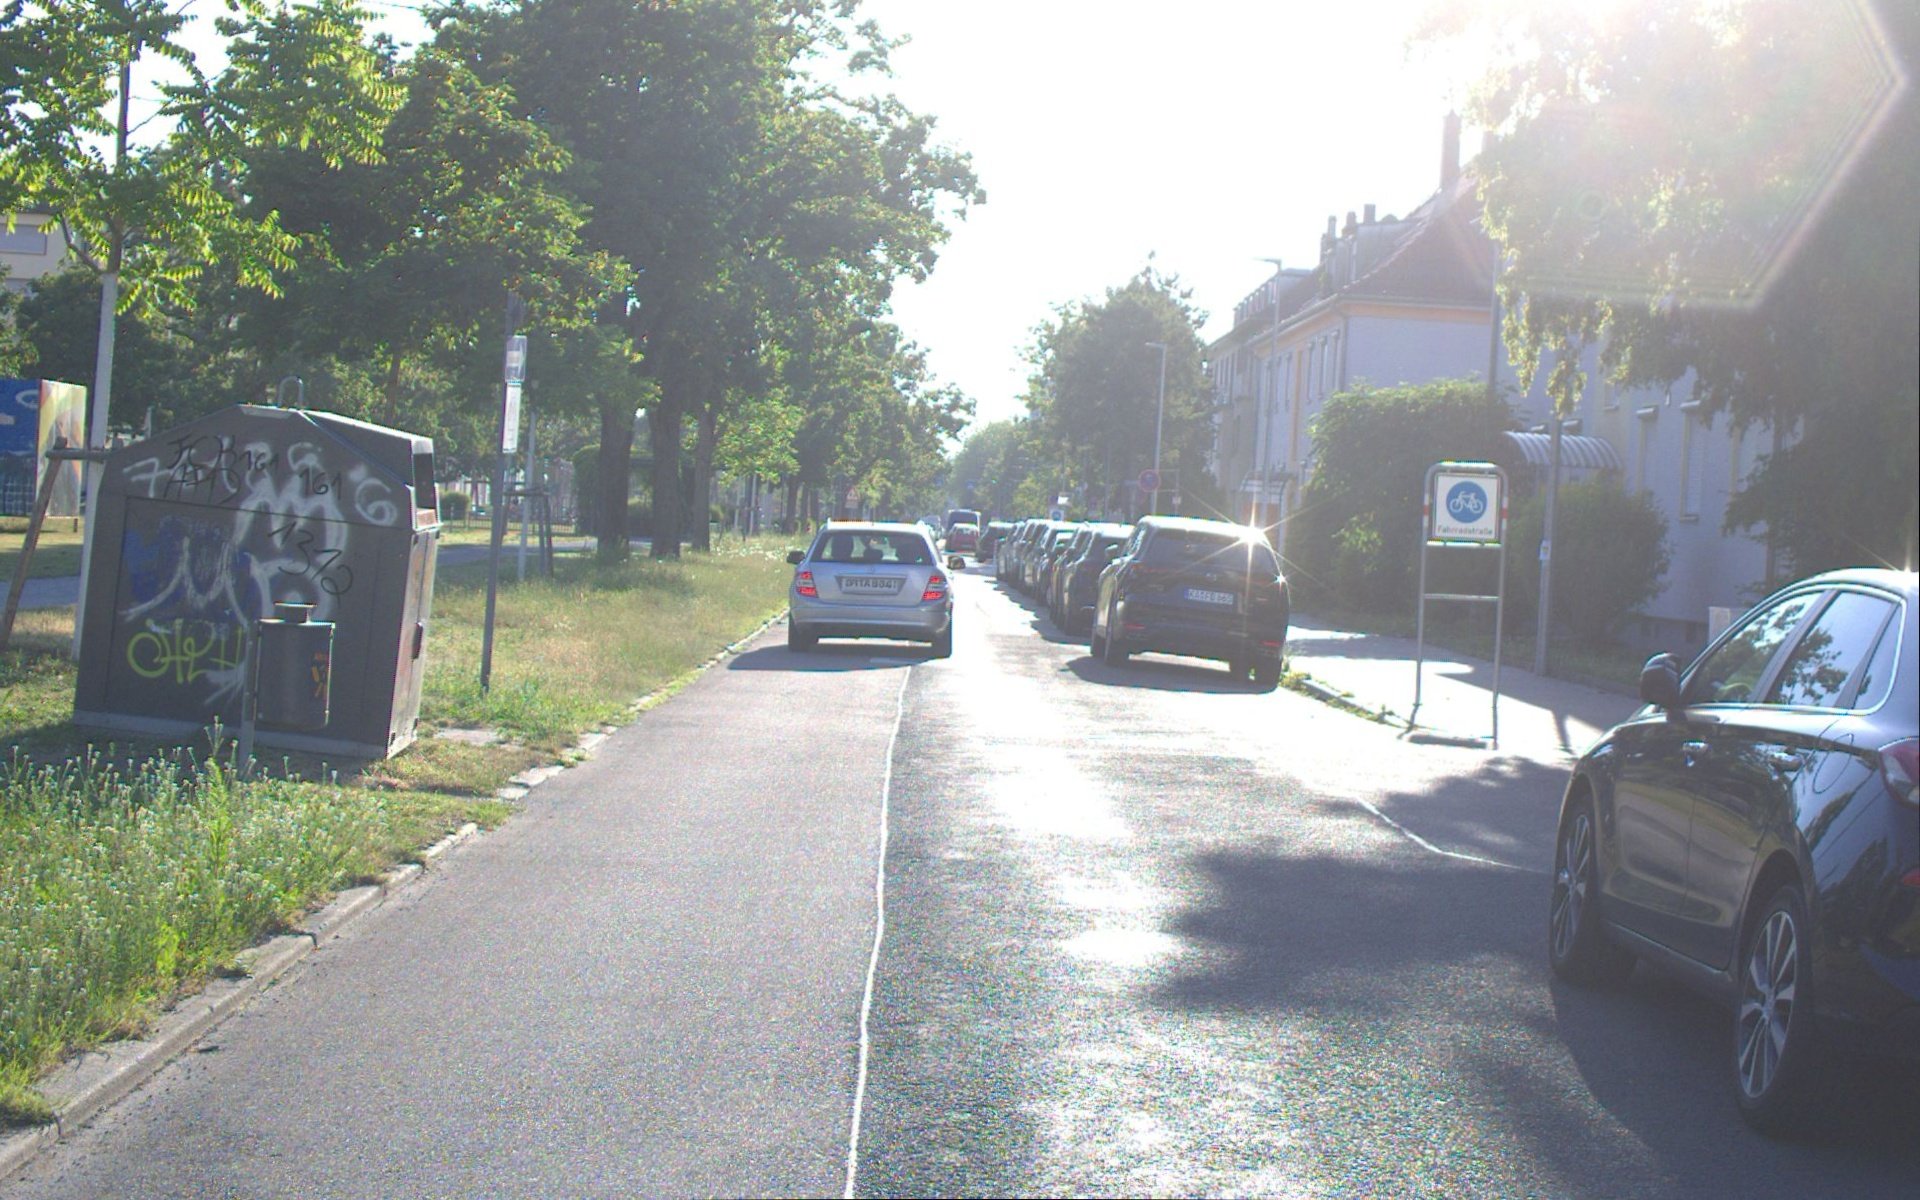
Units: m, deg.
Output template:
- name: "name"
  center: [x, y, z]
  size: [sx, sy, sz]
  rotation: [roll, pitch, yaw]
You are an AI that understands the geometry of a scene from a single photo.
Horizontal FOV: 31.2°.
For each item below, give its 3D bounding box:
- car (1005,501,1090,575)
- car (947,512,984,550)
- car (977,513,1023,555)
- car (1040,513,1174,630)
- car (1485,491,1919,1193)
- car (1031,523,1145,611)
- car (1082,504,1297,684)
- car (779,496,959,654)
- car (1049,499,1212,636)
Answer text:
- name: "car"
  center: [2.070, -1.489, 82.627]
  size: [1.777, 1.637, 4.757]
  rotation: [3, 1, -1]
- name: "car"
  center: [0.316, -3.914, 194.920]
  size: [1.988, 2.016, 4.000]
  rotation: [3, 1, 0]
- name: "car"
  center: [1.572, -2.610, 136.707]
  size: [1.721, 1.591, 4.000]
  rotation: [3, 1, 0]
- name: "car"
  center: [2.342, -0.506, 55.830]
  size: [1.854, 1.651, 4.820]
  rotation: [4, 2, 0]
- name: "car"
  center: [2.906, 0.595, 10.070]
  size: [1.822, 1.555, 4.622]
  rotation: [9, 2, 0]
- name: "car"
  center: [2.422, -0.661, 66.202]
  size: [1.993, 1.457, 4.562]
  rotation: [5, 2, 1]
- name: "car"
  center: [2.488, -0.108, 38.481]
  size: [1.832, 1.726, 5.032]
  rotation: [5, 1, -1]
- name: "car"
  center: [-0.949, -0.320, 37.863]
  size: [1.823, 1.561, 4.000]
  rotation: [2, 2, 0]
- name: "car"
  center: [2.440, -0.517, 50.301]
  size: [1.933, 1.714, 4.622]
  rotation: [6, 2, -1]
